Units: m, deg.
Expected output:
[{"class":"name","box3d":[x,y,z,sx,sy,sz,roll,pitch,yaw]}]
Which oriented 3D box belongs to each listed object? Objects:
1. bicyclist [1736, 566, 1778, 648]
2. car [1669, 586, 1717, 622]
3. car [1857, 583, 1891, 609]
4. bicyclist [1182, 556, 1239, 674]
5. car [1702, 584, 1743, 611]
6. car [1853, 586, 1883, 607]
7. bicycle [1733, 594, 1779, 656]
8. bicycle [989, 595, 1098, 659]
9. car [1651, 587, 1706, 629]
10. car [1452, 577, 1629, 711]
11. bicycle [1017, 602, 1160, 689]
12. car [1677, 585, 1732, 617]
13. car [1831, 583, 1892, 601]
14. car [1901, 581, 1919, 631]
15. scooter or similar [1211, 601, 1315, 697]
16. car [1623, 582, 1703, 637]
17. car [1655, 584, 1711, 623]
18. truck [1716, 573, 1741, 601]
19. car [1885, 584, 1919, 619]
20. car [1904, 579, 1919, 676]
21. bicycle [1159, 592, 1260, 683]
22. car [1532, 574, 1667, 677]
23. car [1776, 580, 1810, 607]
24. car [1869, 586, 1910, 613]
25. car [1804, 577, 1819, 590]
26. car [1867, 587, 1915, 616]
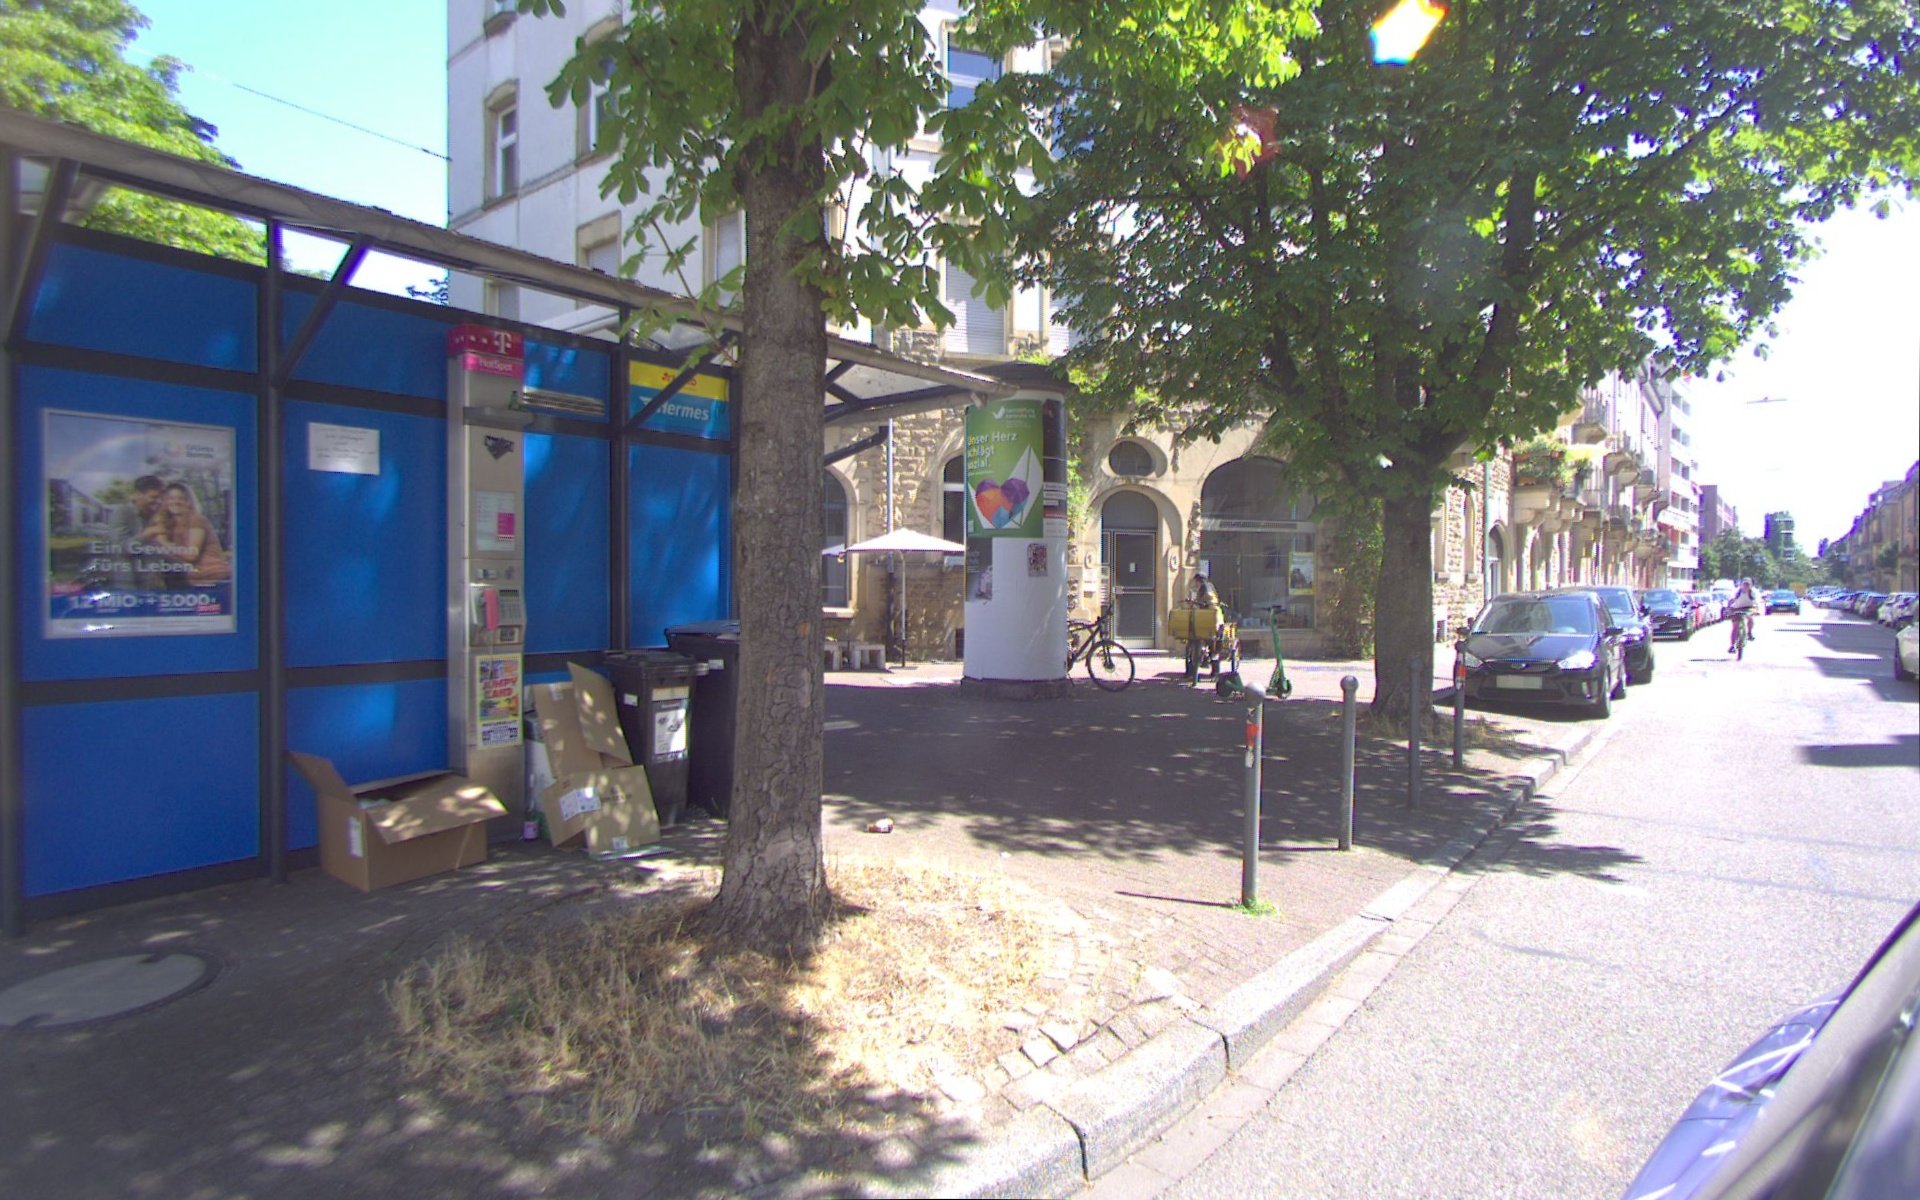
[{"class":"bicyclist","box3d":[16.616,0.125,21.093,0.642,1.670,0.613,2,1,40]},{"class":"car","box3d":[32.219,0.149,44.445,1.586,1.471,3.804,-2,0,38]},{"class":"car","box3d":[66.084,-0.317,73.195,1.445,1.662,3.477,6,5,38]},{"class":"bicyclist","box3d":[3.676,0.204,14.821,0.673,1.668,0.656,1,1,25]},{"class":"car","box3d":[43.261,-0.154,57.423,1.819,1.450,4.429,0,1,37]},{"class":"car","box3d":[69.087,-0.271,77.028,1.445,1.415,3.475,6,5,40]},{"class":"bicycle","box3d":[16.567,0.495,21.056,0.668,1.190,2.064,2,2,40]},{"class":"bicycle","box3d":[1.450,0.453,17.559,1.798,1.052,0.551,0,1,-18]},{"class":"car","box3d":[25.982,0.264,36.547,1.508,1.416,3.920,-2,0,37]},{"class":"car","box3d":[8.100,0.495,13.948,1.658,1.560,4.124,-2,0,36]},{"class":"bicycle","box3d":[1.730,0.585,13.811,1.898,1.052,0.625,2,2,40]},{"class":"car","box3d":[35.917,0.030,48.788,1.715,1.471,4.528,-2,0,41]},{"class":"car","box3d":[79.814,-0.726,89.681,3.984,1.448,1.653,2,2,41]},{"class":"car","box3d":[34.128,0.214,35.247,1.601,1.664,3.922,4,3,38]},{"class":"scooter or similar","box3d":[3.767,0.591,12.604,1.160,1.150,0.444,0,1,-14]},{"class":"car","box3d":[22.115,0.262,31.747,1.828,1.587,4.543,-2,0,37]},{"class":"car","box3d":[29.100,0.131,40.689,1.567,1.471,3.789,-2,0,39]},{"class":"truck","box3d":[77.712,-1.369,102.319,1.862,2.764,4.444,2,2,40]},{"class":"car","box3d":[46.476,0.085,49.215,1.625,1.567,3.804,6,5,36]},{"class":"car","box3d":[15.252,0.478,14.676,1.838,1.478,4.302,4,3,38]},{"class":"bicycle","box3d":[3.757,0.501,15.076,0.789,1.183,2.551,1,2,30]},{"class":"car","box3d":[11.583,0.390,18.201,1.730,1.617,4.291,-2,0,36]},{"class":"car","box3d":[53.466,-0.458,65.028,1.618,1.630,3.547,2,2,39]},{"class":"car","box3d":[56.416,-0.068,61.475,1.628,1.446,3.624,6,5,41]},{"class":"car","box3d":[139.160,-2.697,165.418,1.780,2.039,3.939,1,1,42]},{"class":"car","box3d":[52.899,0.038,57.564,1.777,1.446,3.780,7,5,41]}]
